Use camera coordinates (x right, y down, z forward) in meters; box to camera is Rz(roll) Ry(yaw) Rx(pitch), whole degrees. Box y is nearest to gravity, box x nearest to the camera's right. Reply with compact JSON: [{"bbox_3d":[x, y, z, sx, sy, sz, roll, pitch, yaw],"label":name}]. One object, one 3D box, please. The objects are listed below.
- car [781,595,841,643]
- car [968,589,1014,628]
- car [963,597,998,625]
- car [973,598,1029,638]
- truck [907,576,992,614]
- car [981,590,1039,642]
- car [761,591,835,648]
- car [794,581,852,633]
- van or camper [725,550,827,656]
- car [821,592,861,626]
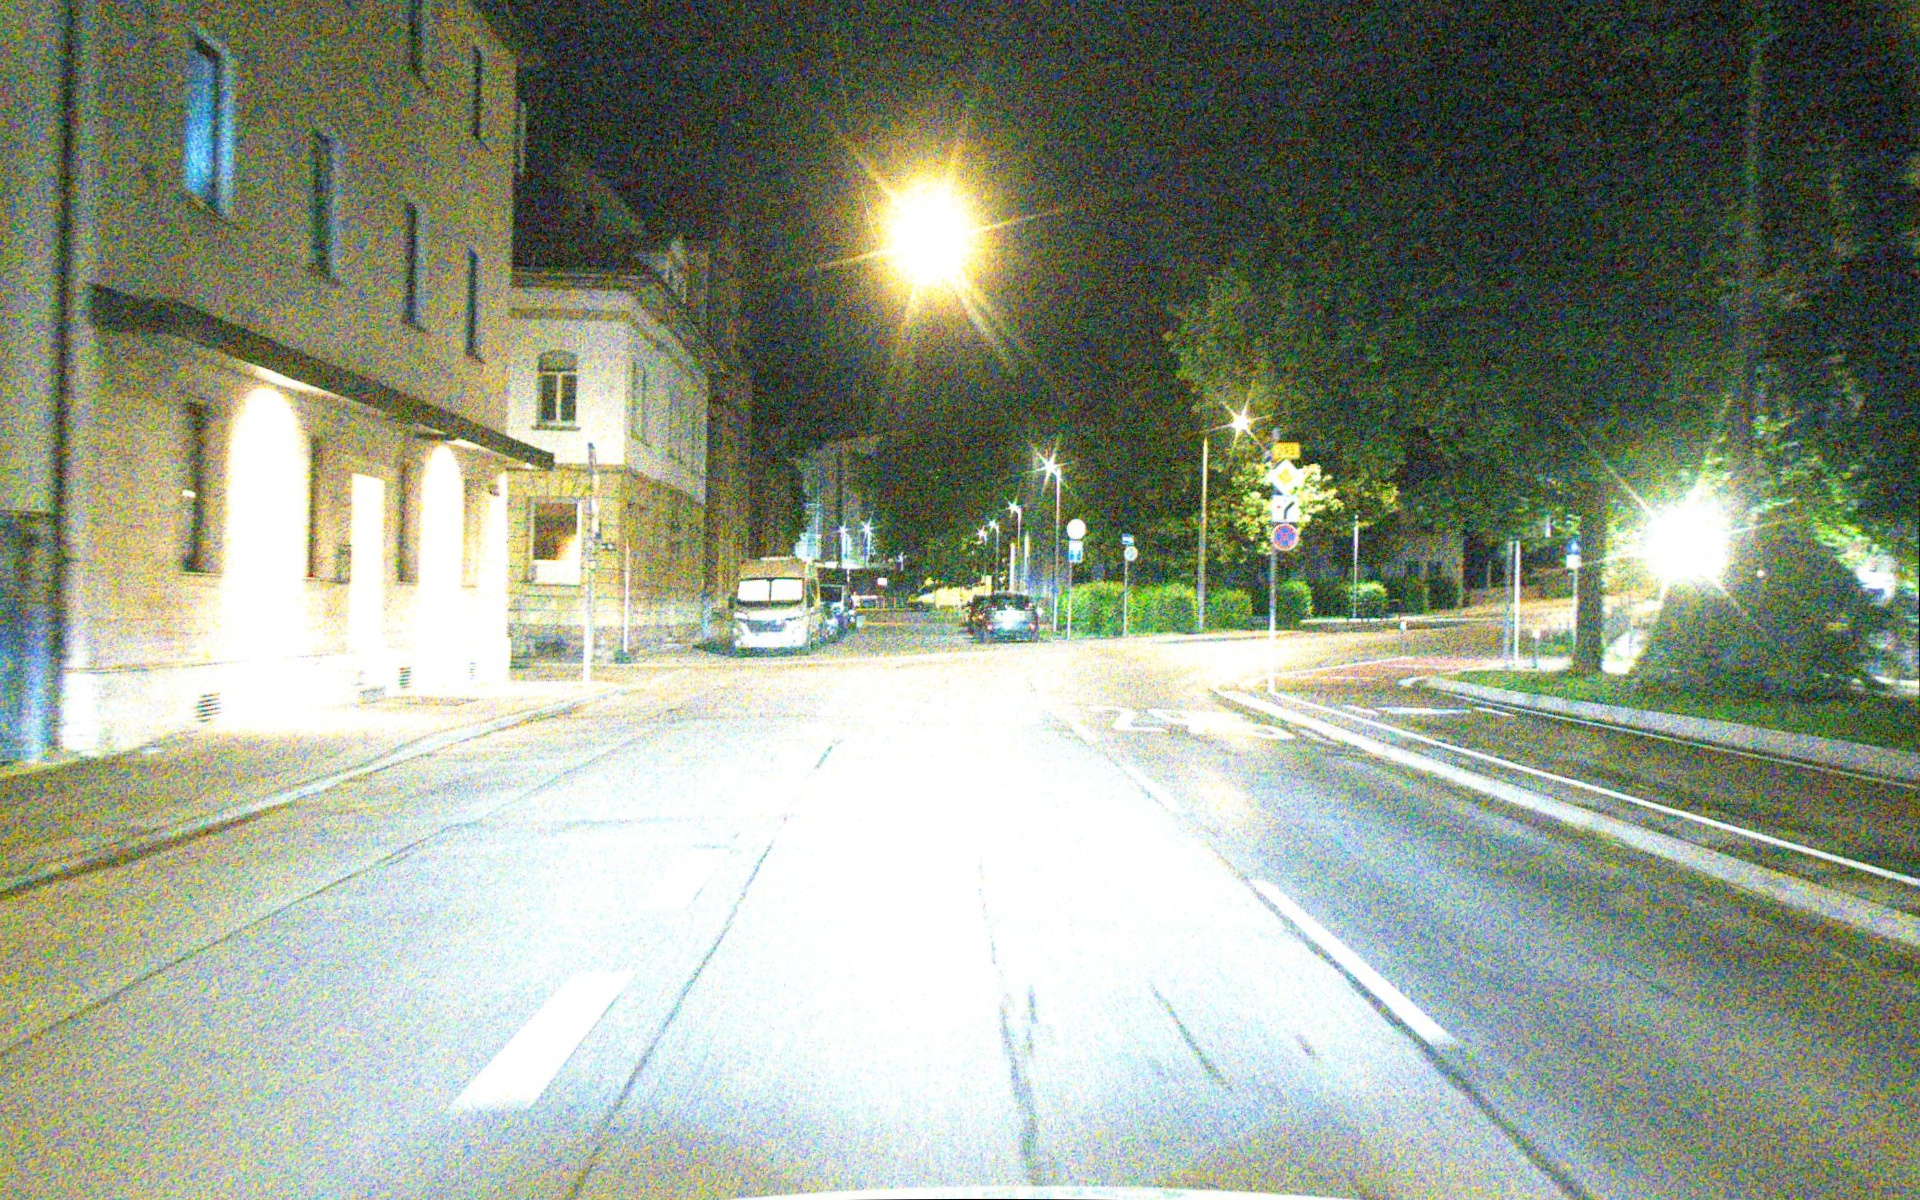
[{"bbox_3d":[-5.026,0.618,55.315,1.804,1.533,4.734,0,0,-8],"label":"car"},{"bbox_3d":[1.428,0.407,78.132,1.998,1.724,4.881,-2,0,-1],"label":"car"},{"bbox_3d":[1.080,0.583,89.112,1.722,1.470,4.024,0,0,-2],"label":"car"},{"bbox_3d":[1.475,0.663,60.507,1.923,1.407,3.999,0,-1,-1],"label":"car"},{"bbox_3d":[-0.878,-0.418,132.478,6.642,2.894,1.998,1,0,-4],"label":"truck"},{"bbox_3d":[1.640,0.535,54.972,1.845,1.631,4.107,-1,0,1],"label":"car"},{"bbox_3d":[-4.839,0.569,49.845,1.853,1.618,4.373,-1,0,-1],"label":"car"},{"bbox_3d":[-5.390,0.278,65.588,1.953,1.989,4.804,0,0,-1],"label":"car"},{"bbox_3d":[-4.839,0.080,44.339,2.114,2.580,6.224,-2,0,-2],"label":"van or camper"},{"bbox_3d":[-5.588,0.427,77.805,1.670,1.536,4.098,1,-1,-2],"label":"car"}]
